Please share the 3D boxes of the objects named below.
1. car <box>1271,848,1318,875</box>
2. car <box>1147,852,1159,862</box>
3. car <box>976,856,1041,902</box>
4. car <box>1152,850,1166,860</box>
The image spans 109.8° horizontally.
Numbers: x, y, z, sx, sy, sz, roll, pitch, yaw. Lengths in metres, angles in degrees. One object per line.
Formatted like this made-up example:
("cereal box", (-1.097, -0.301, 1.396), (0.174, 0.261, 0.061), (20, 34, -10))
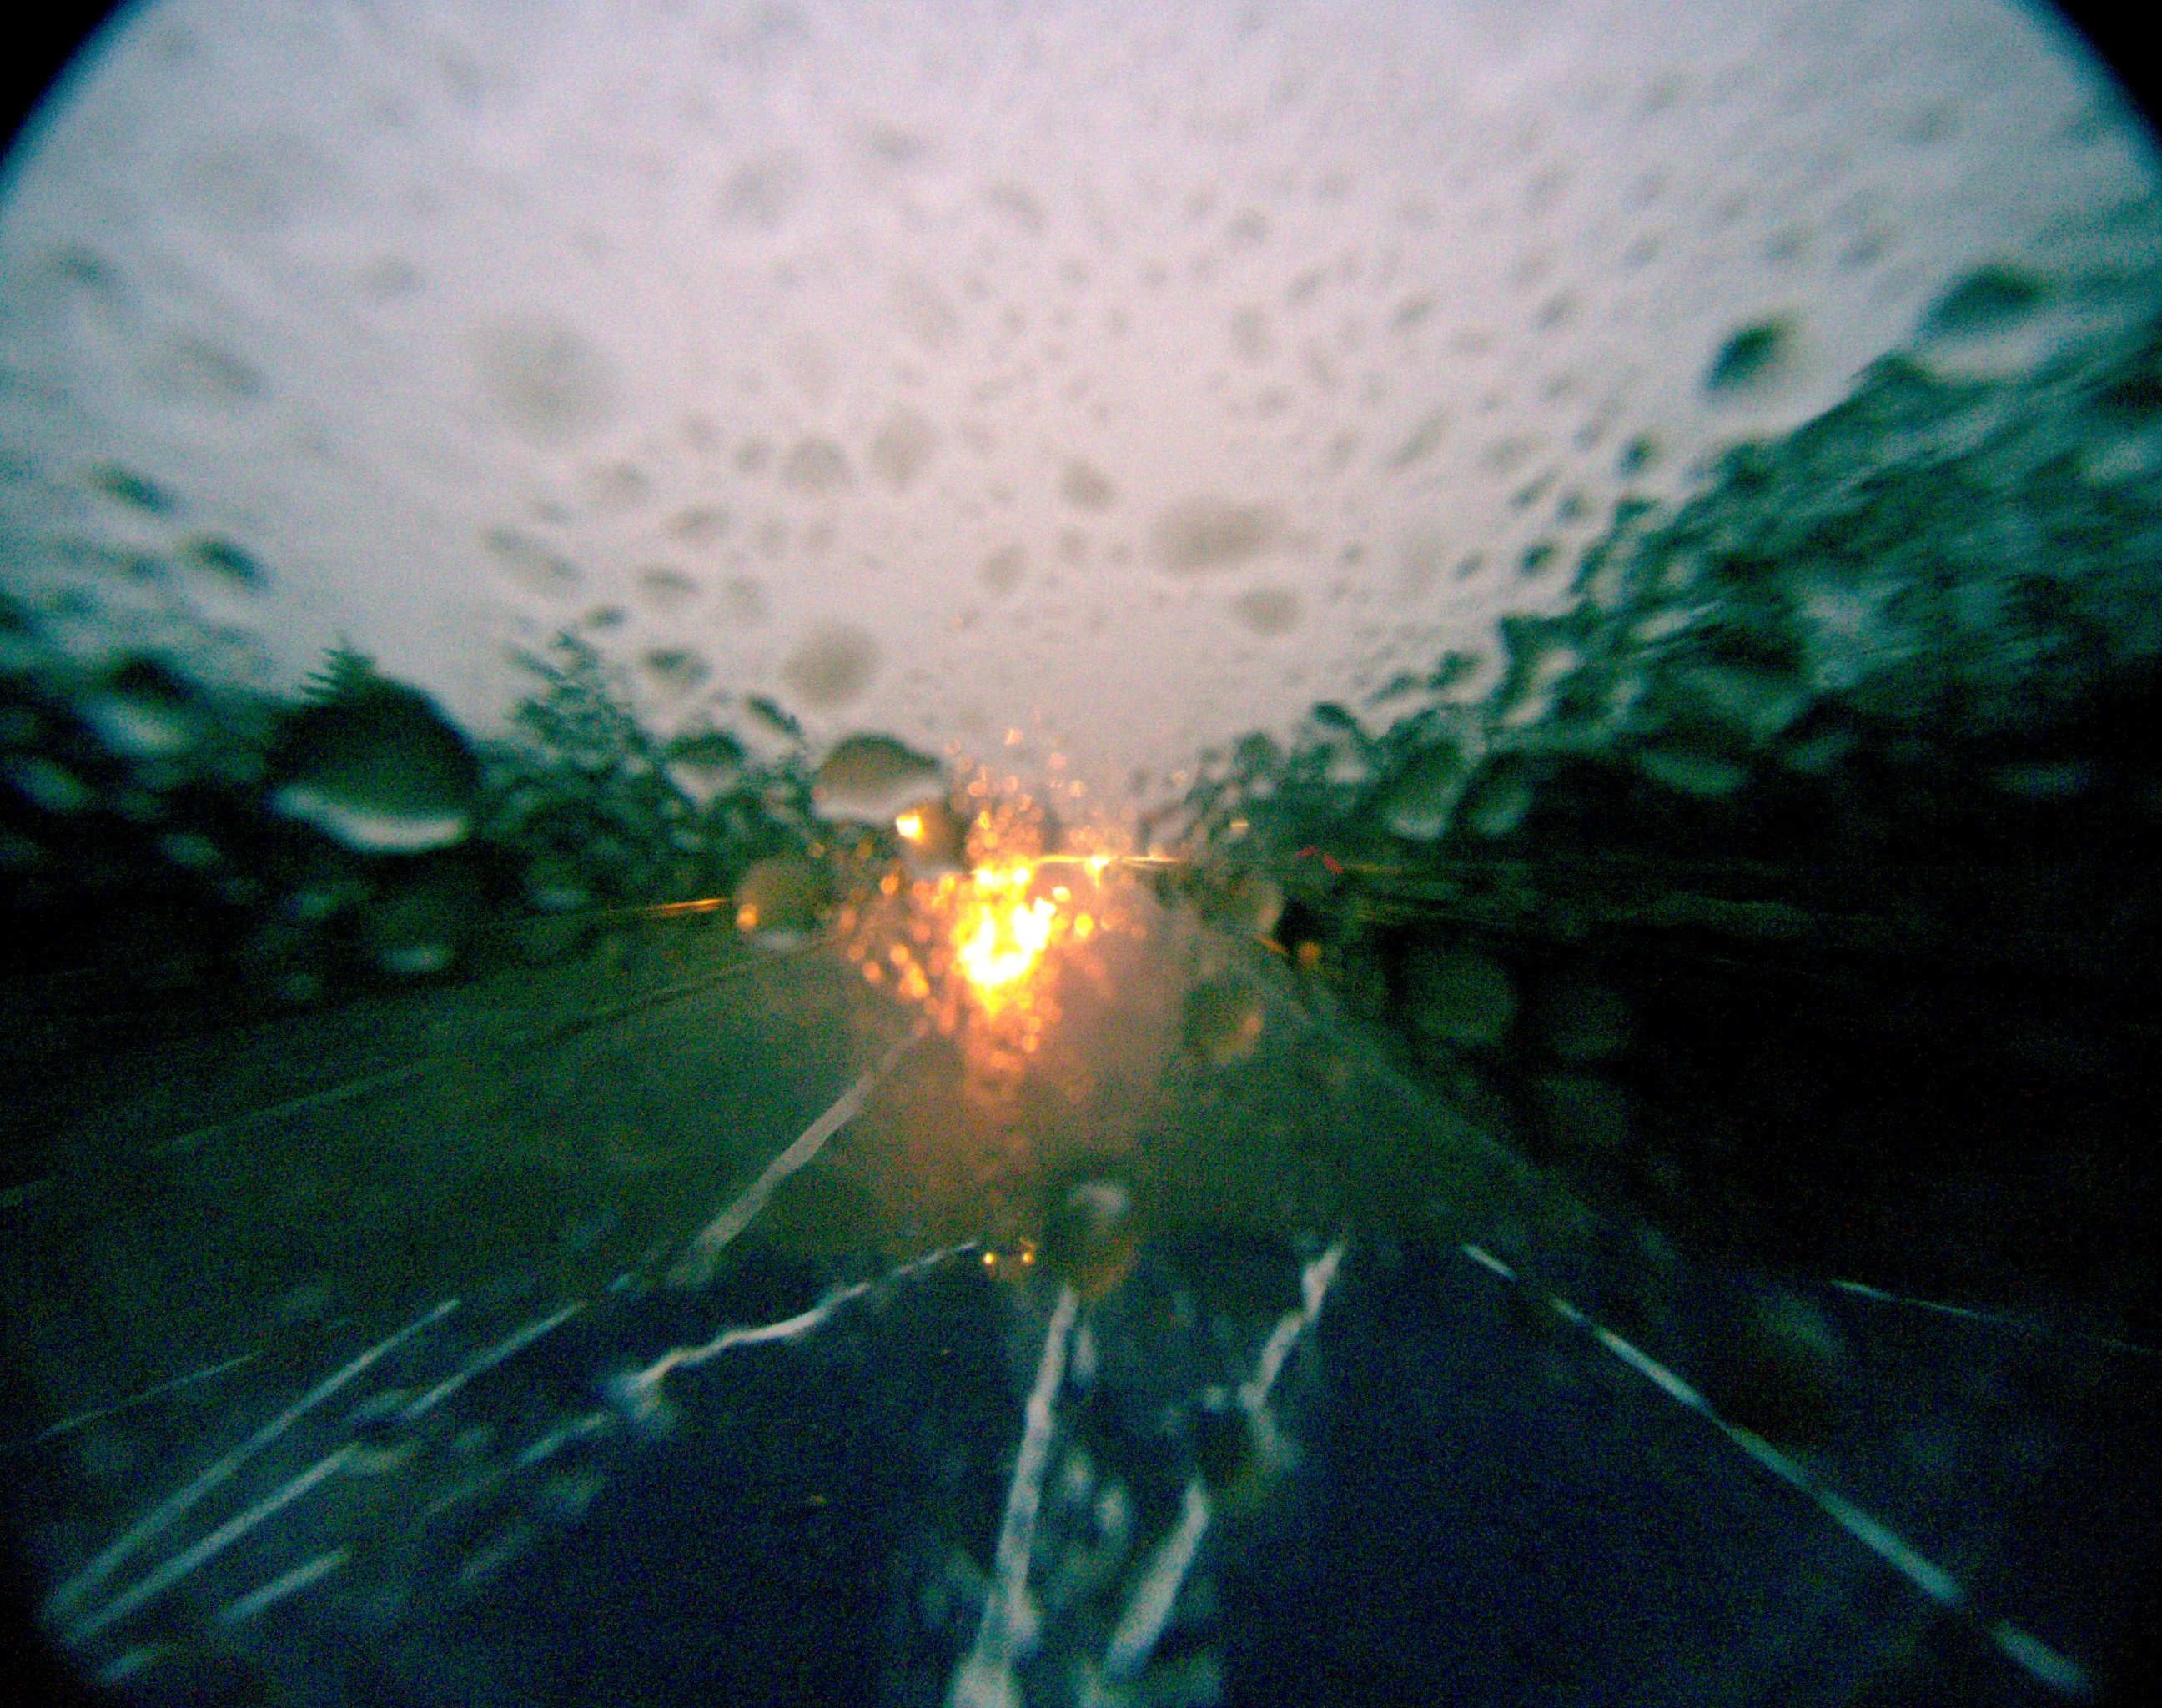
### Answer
("car", (12.253, 0.425, 43.824), (1.647, 1.471, 3.648), (-2, 0, 0))
("car", (11.959, 0.439, 125.890), (1.726, 1.597, 3.514), (-2, 0, 3))
("car", (-2.897, 0.979, 31.545), (2.075, 1.688, 4.461), (-2, 0, 2))
("car", (11.606, 0.169, 113.086), (1.681, 1.485, 4.258), (-2, 0, 1))
